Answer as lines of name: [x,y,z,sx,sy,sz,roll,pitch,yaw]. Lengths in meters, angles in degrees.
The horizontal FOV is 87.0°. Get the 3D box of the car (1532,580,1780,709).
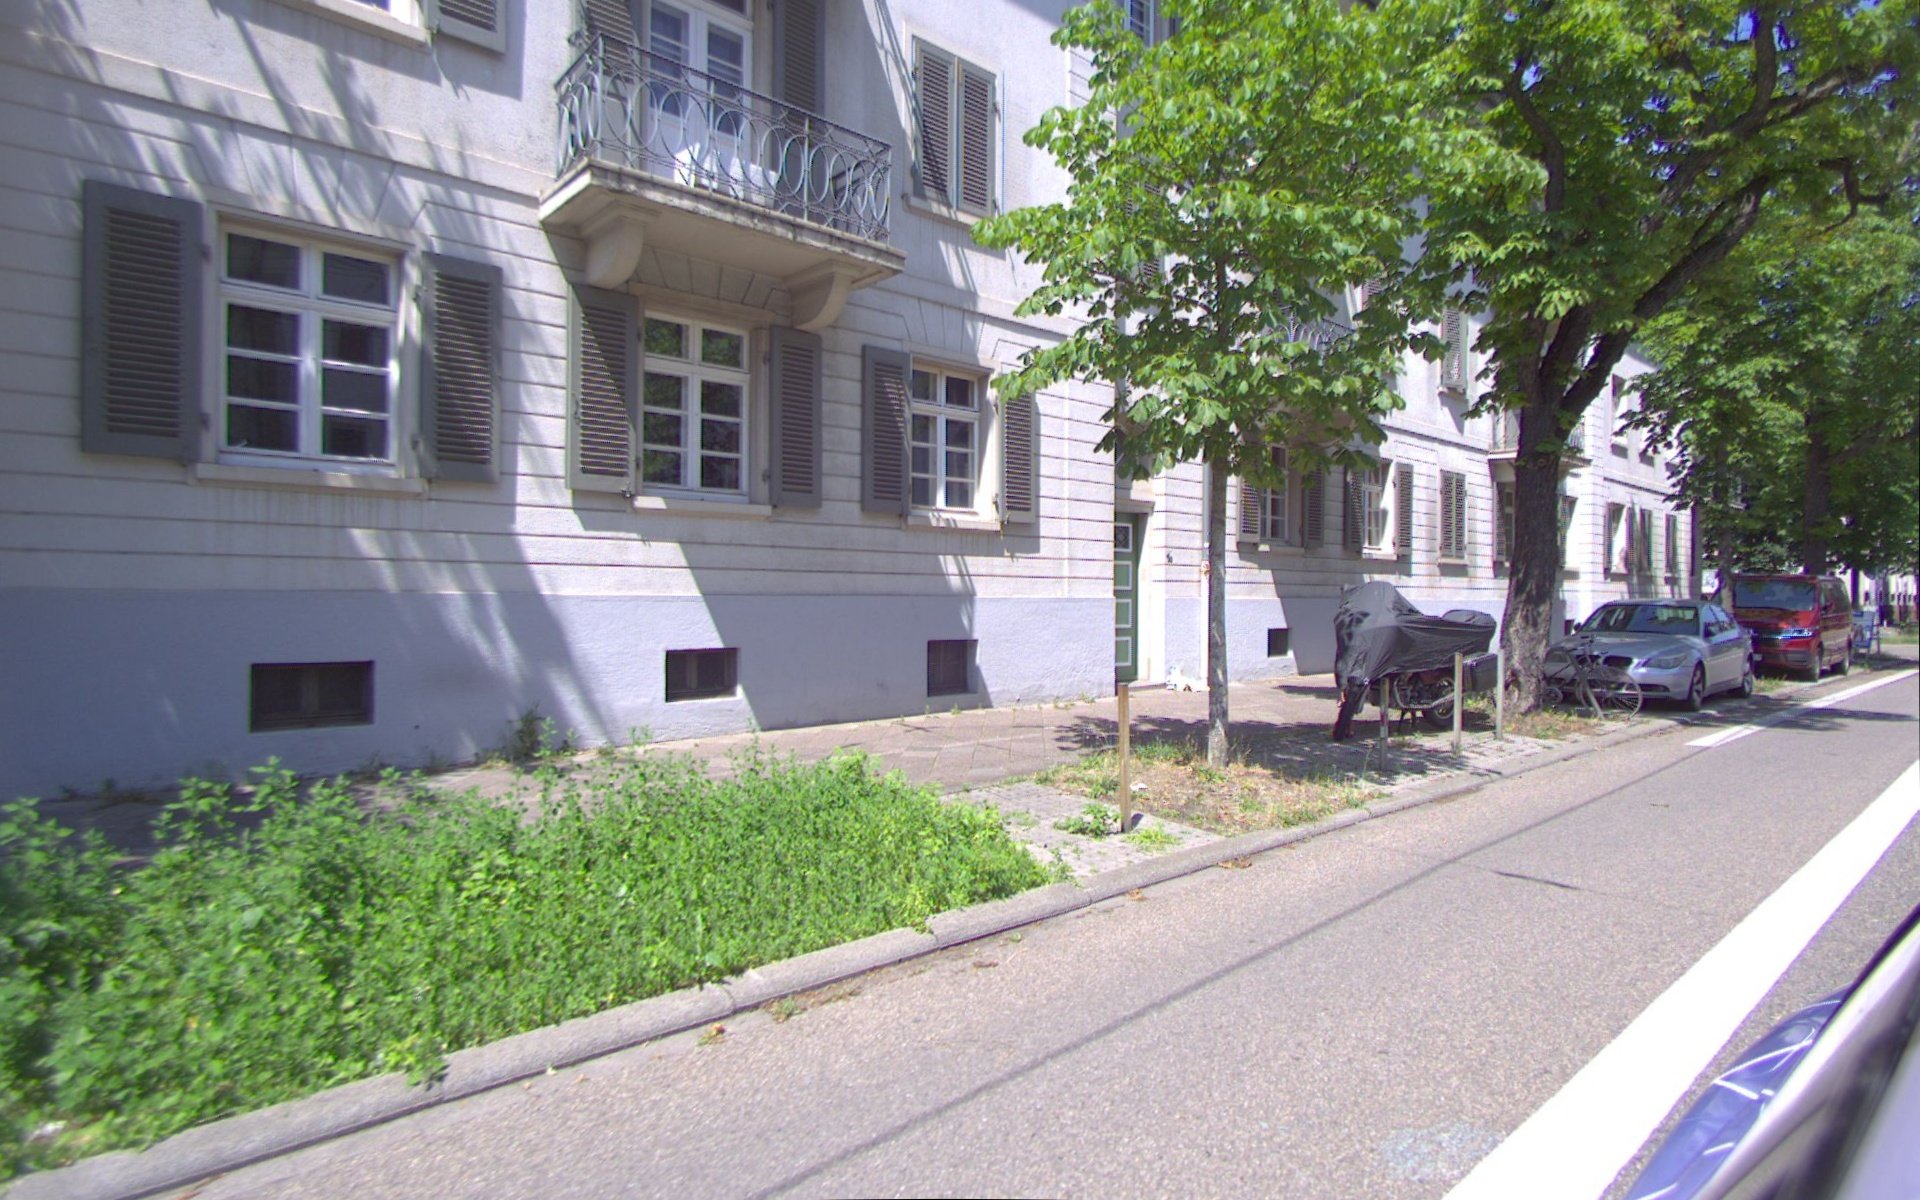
car: [10.320,0.532,14.857,4.792,1.597,1.863,0,0,-41]

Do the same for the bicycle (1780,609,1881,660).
bicycle: [19.507,0.754,22.701,1.696,1.034,0.359,2,1,44]

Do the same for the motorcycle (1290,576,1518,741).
motorcycle: [4.550,0.544,10.294,2.507,1.525,0.748,1,0,-30]

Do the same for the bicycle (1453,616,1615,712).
bicycle: [6.922,0.748,12.278,0.365,1.028,1.661,3,0,-40]

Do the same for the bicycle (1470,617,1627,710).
bicycle: [7.286,0.756,12.592,0.365,1.028,1.661,0,0,-40]

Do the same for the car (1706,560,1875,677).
car: [16.508,0.309,20.024,4.890,2.039,1.862,0,0,-42]
